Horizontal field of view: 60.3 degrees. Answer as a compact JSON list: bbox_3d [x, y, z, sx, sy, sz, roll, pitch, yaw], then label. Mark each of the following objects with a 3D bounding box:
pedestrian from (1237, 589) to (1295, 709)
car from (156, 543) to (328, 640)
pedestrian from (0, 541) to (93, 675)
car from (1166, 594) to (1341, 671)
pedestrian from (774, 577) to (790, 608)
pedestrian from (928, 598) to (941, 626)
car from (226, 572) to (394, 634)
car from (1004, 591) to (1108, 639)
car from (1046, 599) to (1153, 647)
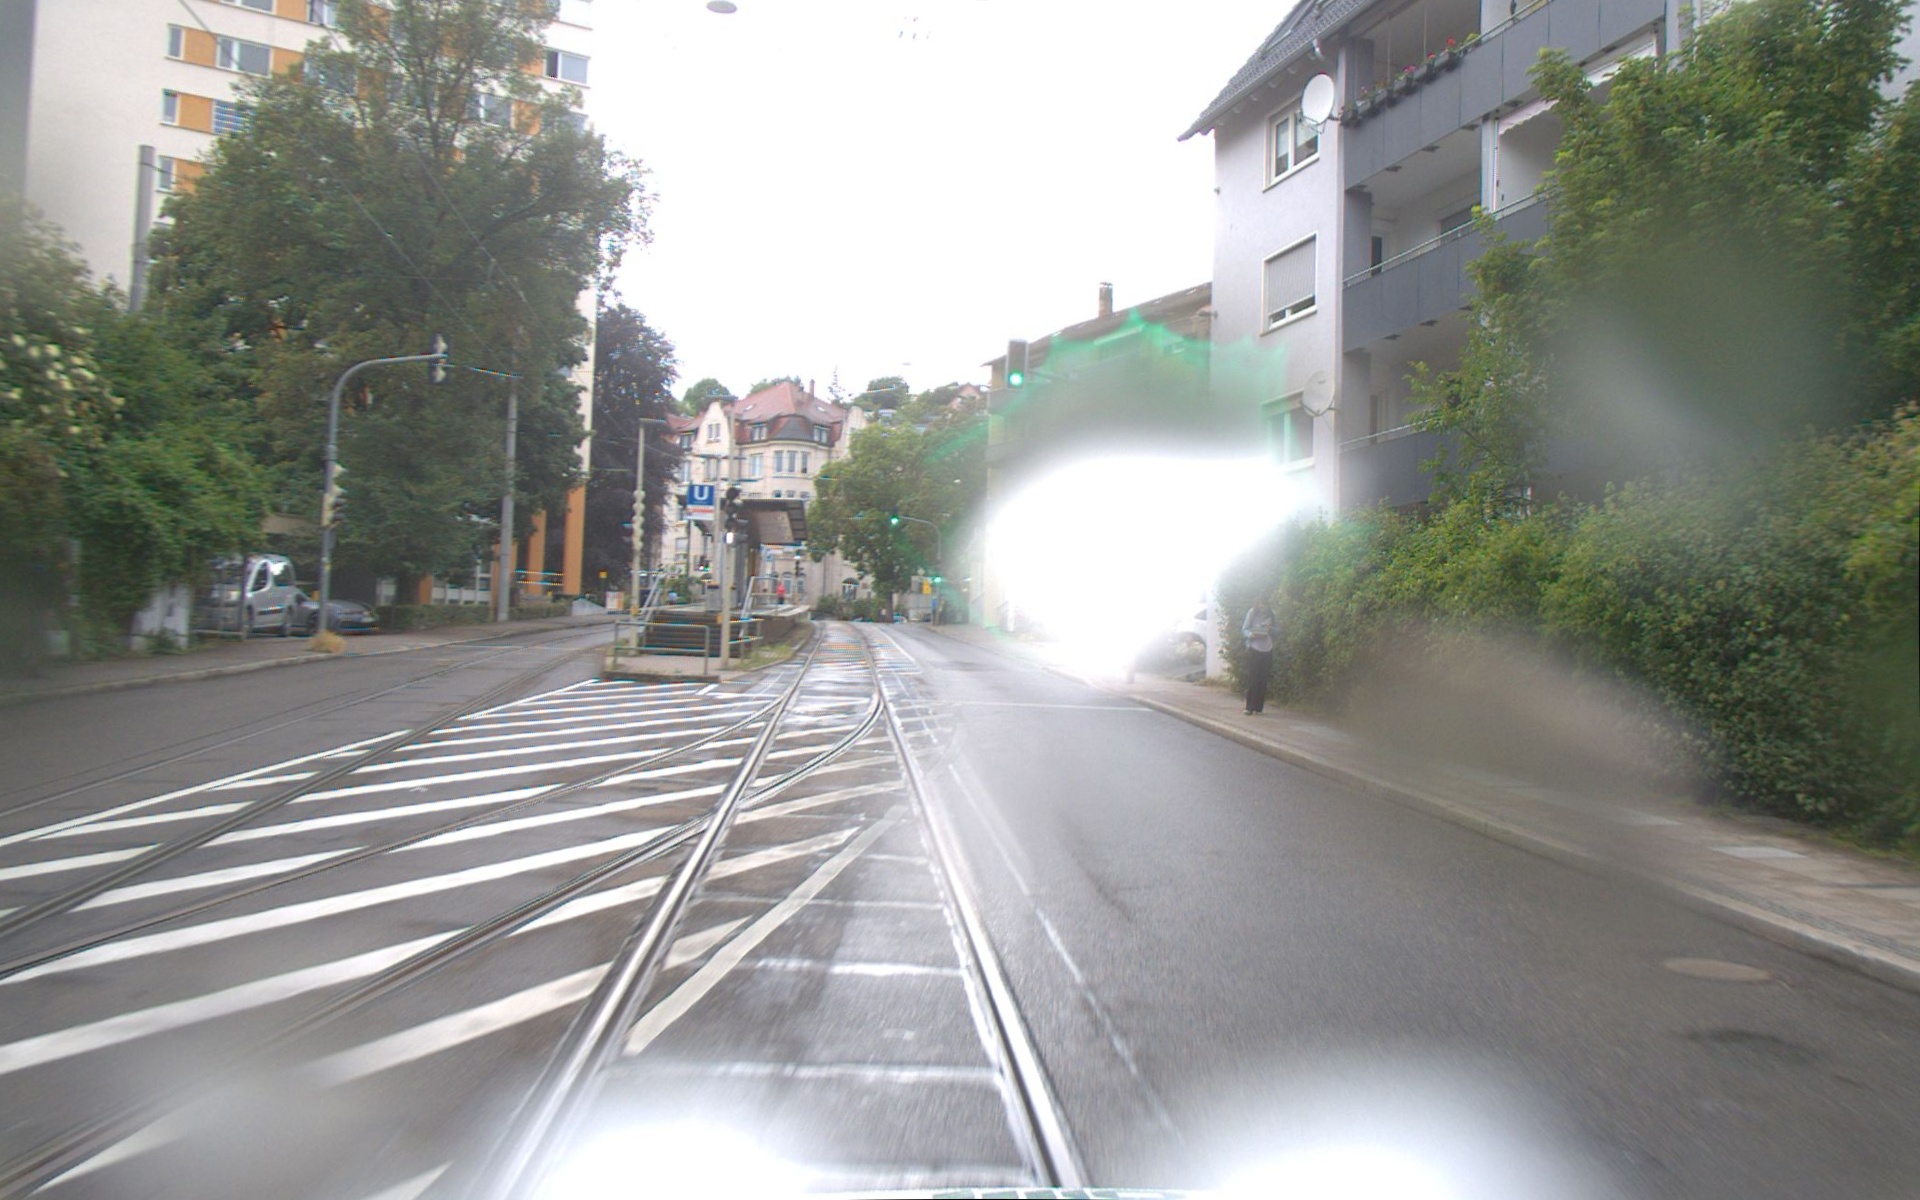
[{"bbox_3d":[4.345,0.701,23.510,0.631,1.657,0.699,2,-2,-2],"label":"pedestrian"},{"bbox_3d":[-15.476,-0.124,35.899,1.953,1.714,3.997,3,-4,-2],"label":"car"},{"bbox_3d":[-12.109,0.122,21.895,0.723,1.707,0.918,-1,-4,1],"label":"pedestrian"},{"bbox_3d":[7.294,0.831,41.315,3.910,1.674,1.805,3,-3,-6],"label":"car"},{"bbox_3d":[-8.868,-0.362,82.263,0.644,1.492,0.771,2,-4,-2],"label":"pedestrian"},{"bbox_3d":[-1.415,0.688,92.725,0.568,1.492,0.542,3,-4,-12],"label":"pedestrian"},{"bbox_3d":[-17.158,0.078,43.687,3.904,1.431,1.683,1,-4,19],"label":"car"},{"bbox_3d":[3.845,0.626,66.487,3.909,1.674,1.805,3,-3,-5],"label":"car"},{"bbox_3d":[5.279,0.890,62.870,3.768,1.570,1.805,3,-3,-6],"label":"car"}]
